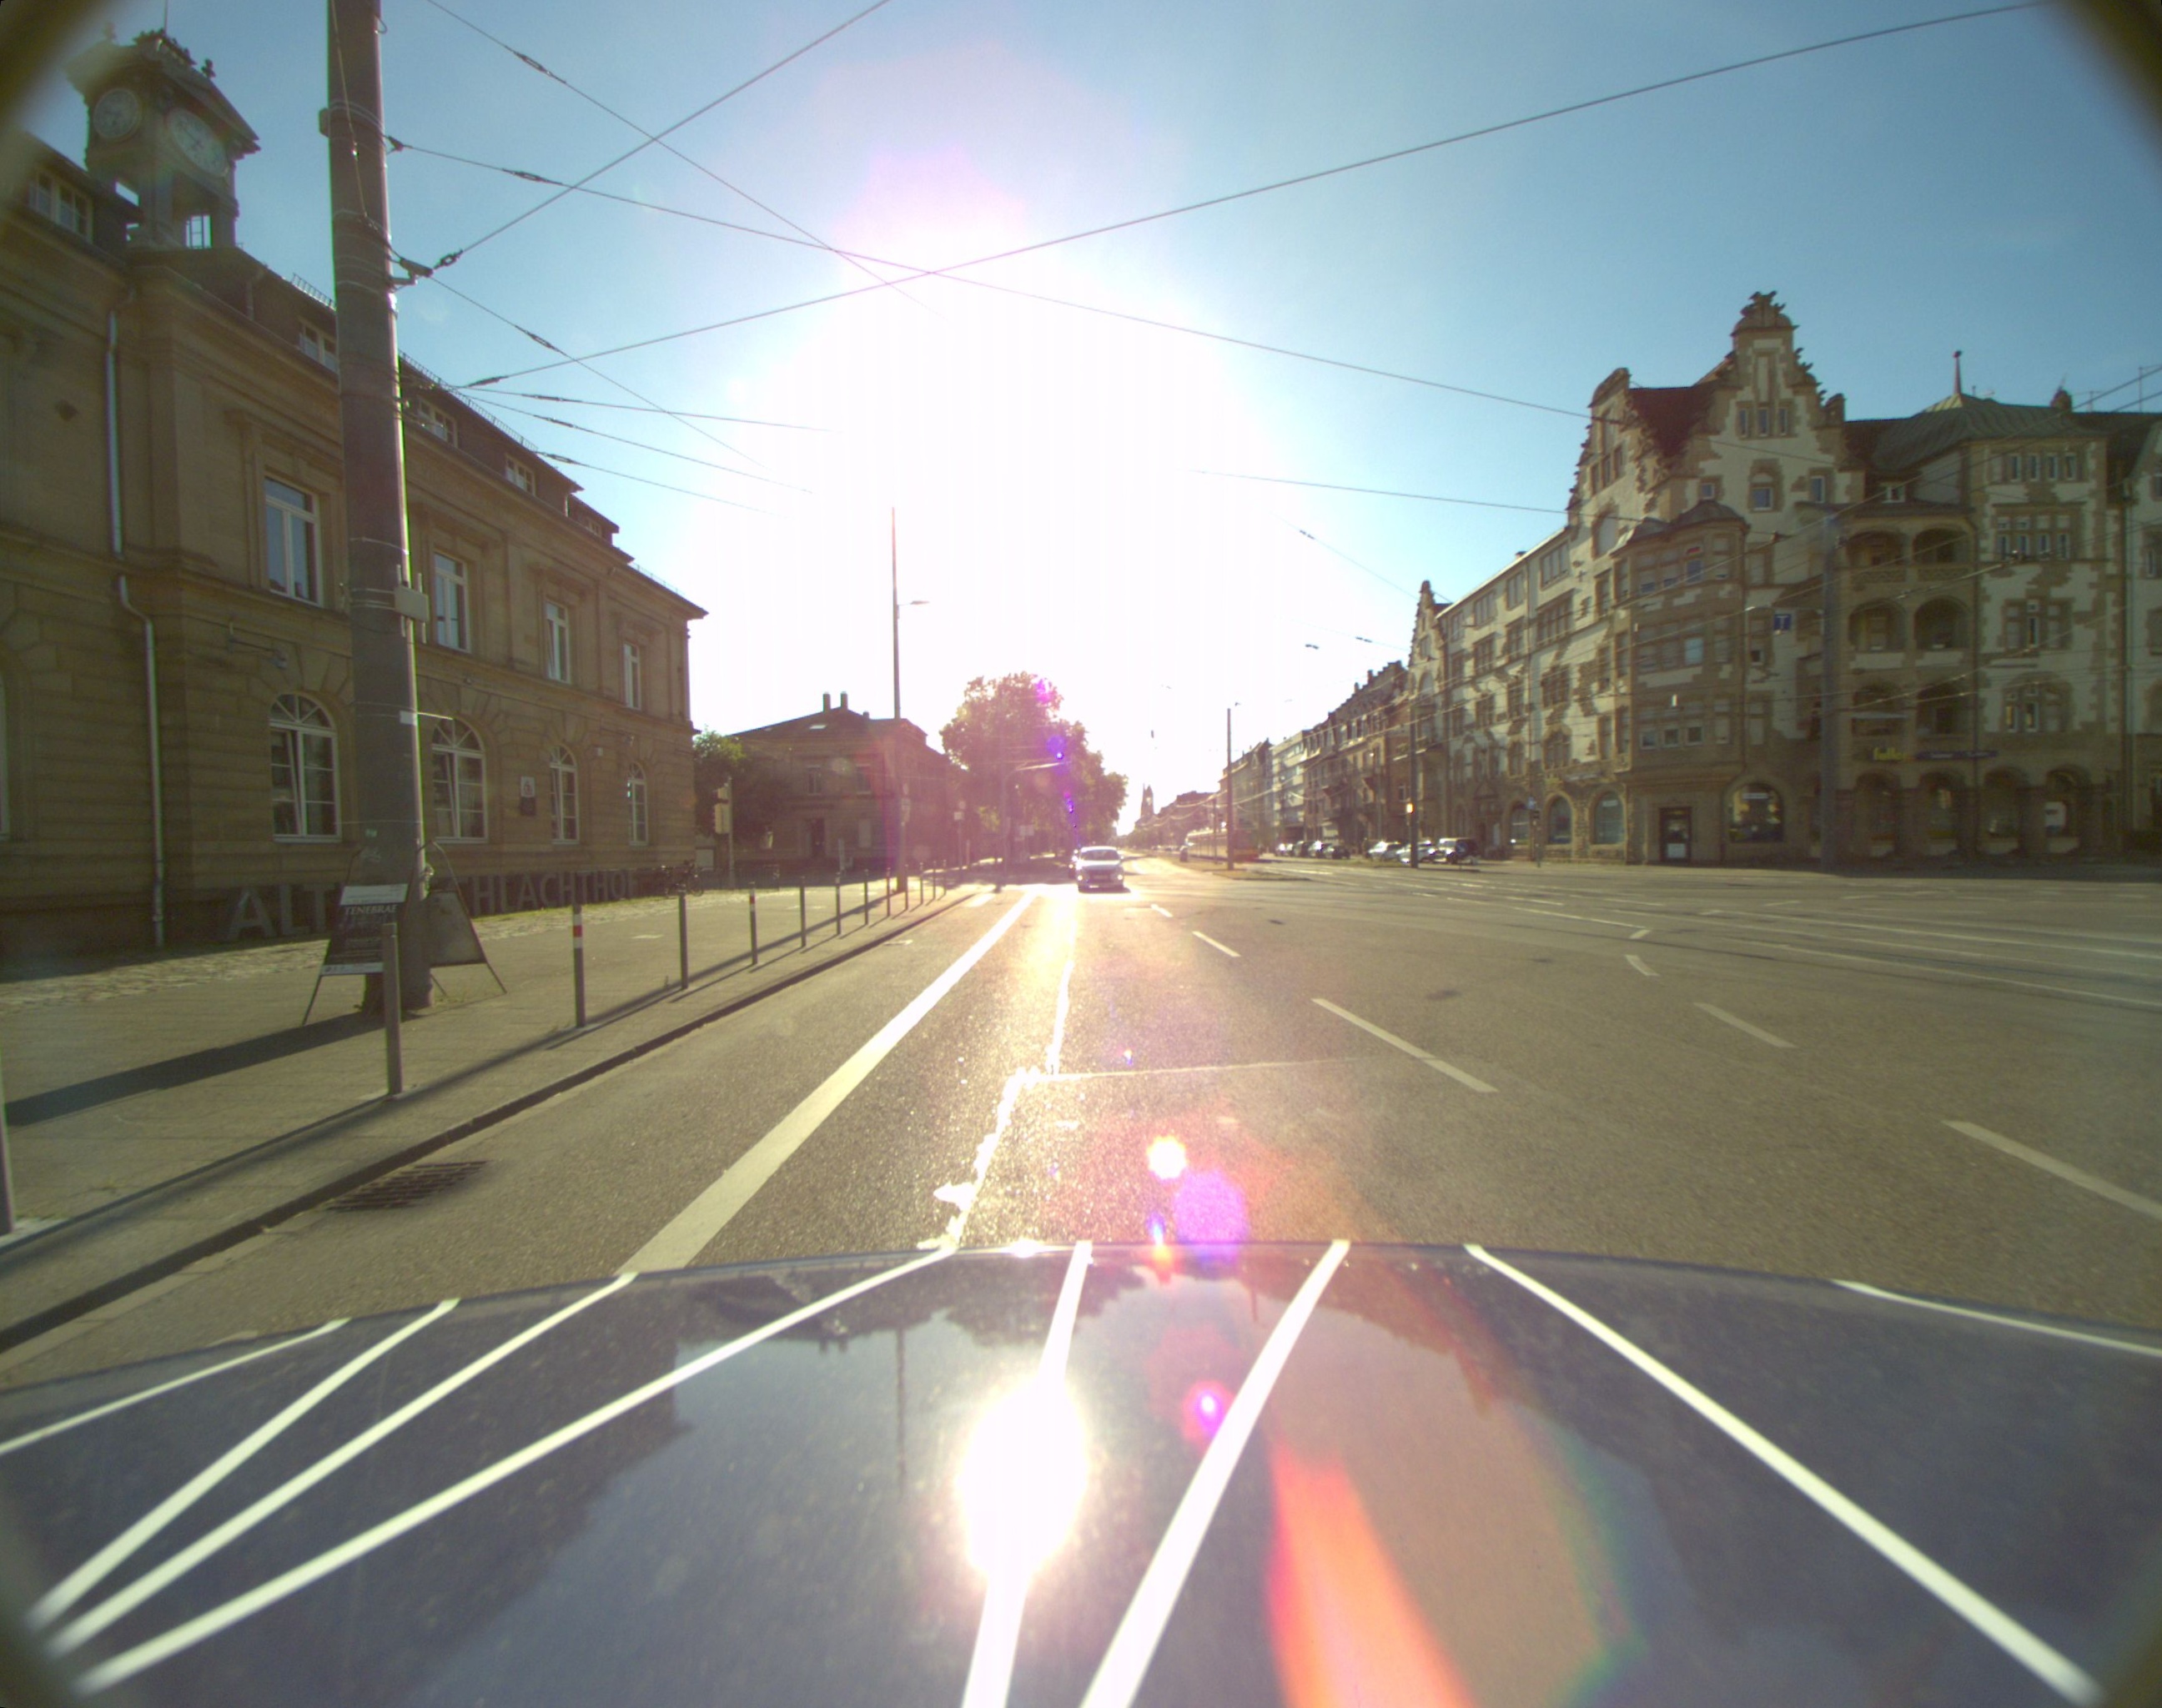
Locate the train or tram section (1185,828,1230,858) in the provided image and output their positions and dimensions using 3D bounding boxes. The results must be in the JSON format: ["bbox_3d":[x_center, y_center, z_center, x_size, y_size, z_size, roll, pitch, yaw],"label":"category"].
[{"bbox_3d":[15.713,-1.419,96.131,2.781,3.379,19.471,-2,1,1],"label":"train or tram section"}]

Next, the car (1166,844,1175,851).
[{"bbox_3d":[23.205,-1.625,196.997,1.780,1.660,3.999,-1,1,0],"label":"car"}]

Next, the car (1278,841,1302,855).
[{"bbox_3d":[24.256,-0.740,88.164,1.741,1.516,4.000,-3,1,1],"label":"car"}]

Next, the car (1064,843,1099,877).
[{"bbox_3d":[0.048,0.264,38.649,1.649,1.555,3.666,-2,1,1],"label":"car"}]

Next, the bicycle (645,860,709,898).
[{"bbox_3d":[-12.890,0.788,24.281,1.650,1.174,0.690,0,1,-1],"label":"bicycle"}]

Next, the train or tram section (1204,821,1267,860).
[{"bbox_3d":[15.192,-1.207,76.680,2.781,3.379,19.474,-2,0,1],"label":"train or tram section"}]

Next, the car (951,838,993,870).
[{"bbox_3d":[-7.336,-0.039,51.471,1.833,2.035,4.000,-2,1,5],"label":"car"}]

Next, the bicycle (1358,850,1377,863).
[{"bbox_3d":[21.680,0.179,57.594,0.607,0.996,2.068,-1,1,-1],"label":"bicycle"}]

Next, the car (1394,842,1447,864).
[{"bbox_3d":[24.119,-0.083,54.213,1.727,1.467,4.432,-1,1,-1],"label":"car"}]

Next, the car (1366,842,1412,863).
[{"bbox_3d":[24.094,-0.141,59.615,1.741,1.516,3.998,-3,1,-3],"label":"car"}]

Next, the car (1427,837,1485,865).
[{"bbox_3d":[24.056,-0.206,48.908,1.780,1.660,3.999,-1,1,0],"label":"car"}]

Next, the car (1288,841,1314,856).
[{"bbox_3d":[23.993,-0.621,82.874,1.741,1.516,4.000,-3,1,1],"label":"car"}]

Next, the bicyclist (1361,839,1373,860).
[{"bbox_3d":[21.658,-0.356,57.602,0.683,1.609,0.630,-1,1,1],"label":"bicyclist"}]

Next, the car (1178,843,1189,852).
[{"bbox_3d":[20.627,-1.355,152.816,1.780,1.660,3.999,-1,1,0],"label":"car"}]

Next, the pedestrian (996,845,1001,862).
[{"bbox_3d":[-8.423,-0.049,77.450,0.364,1.635,0.390,-1,1,2],"label":"pedestrian"}]

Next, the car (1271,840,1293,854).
[{"bbox_3d":[24.502,-0.844,92.778,1.741,1.516,4.000,-3,1,1],"label":"car"}]

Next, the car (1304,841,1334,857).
[{"bbox_3d":[24.004,-0.494,76.717,1.741,1.516,4.000,-3,1,1],"label":"car"}]

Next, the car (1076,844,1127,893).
[{"bbox_3d":[0.717,0.461,27.243,1.649,1.555,3.666,-2,1,1],"label":"car"}]
